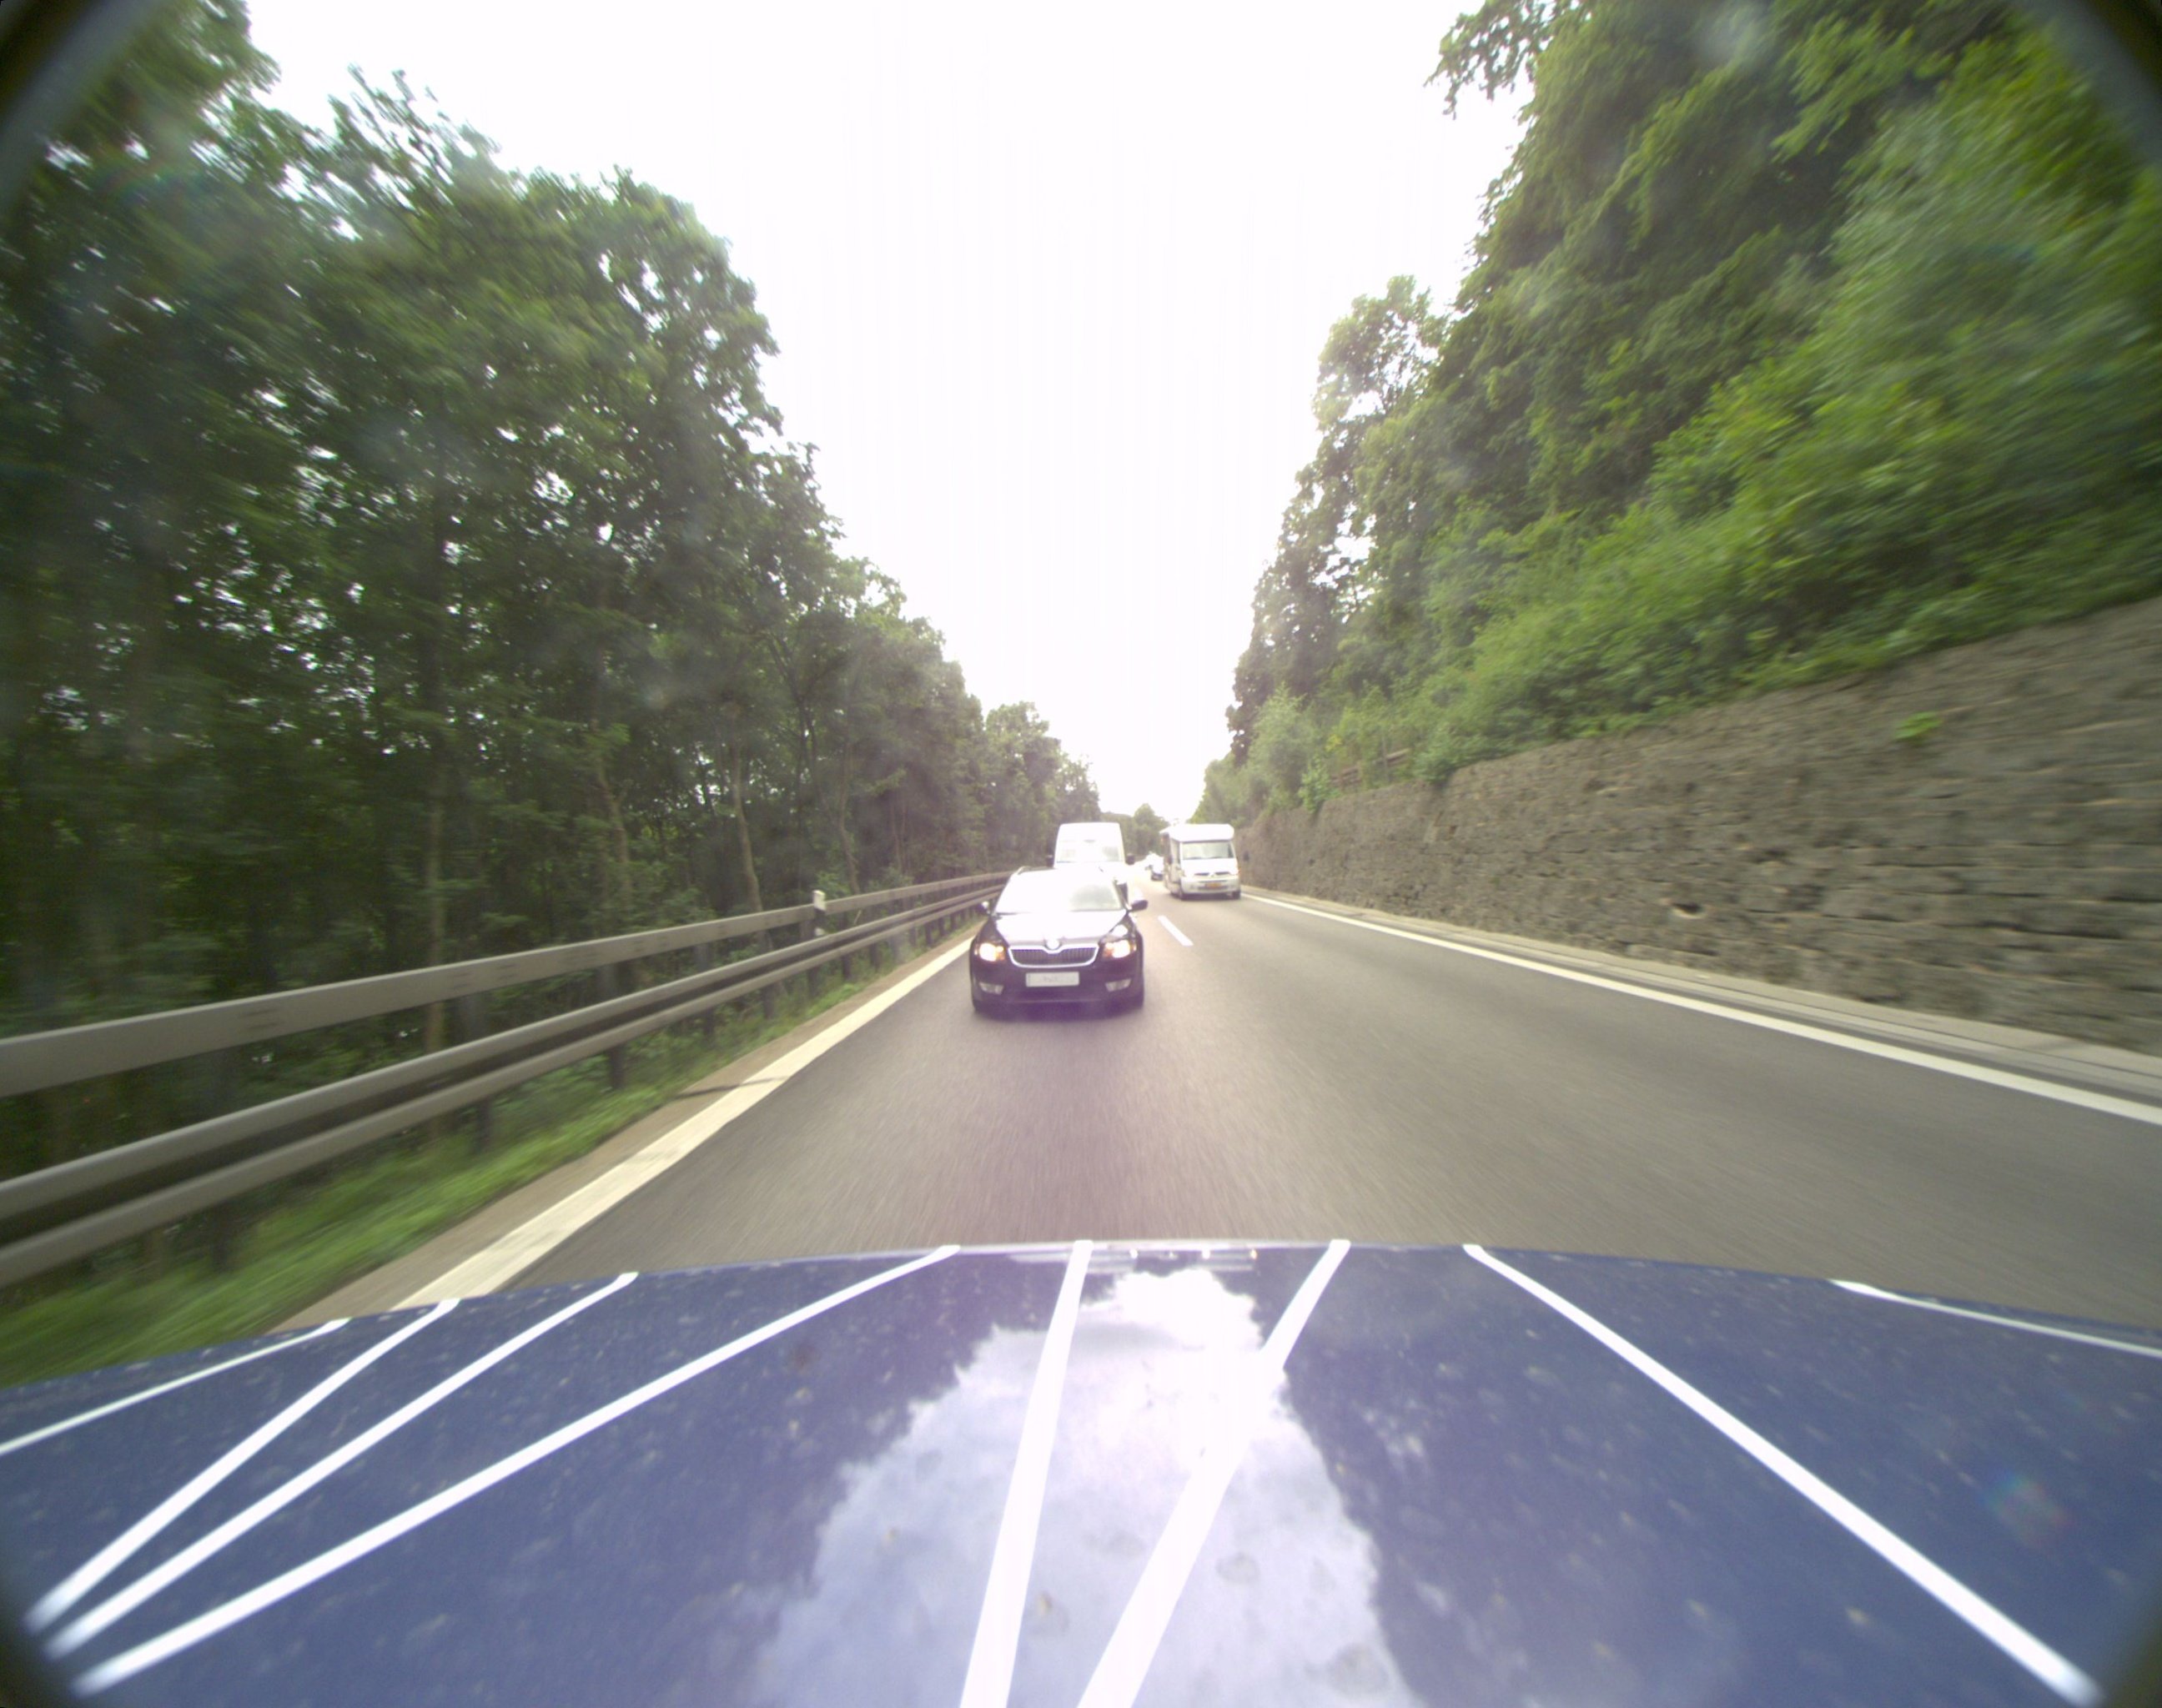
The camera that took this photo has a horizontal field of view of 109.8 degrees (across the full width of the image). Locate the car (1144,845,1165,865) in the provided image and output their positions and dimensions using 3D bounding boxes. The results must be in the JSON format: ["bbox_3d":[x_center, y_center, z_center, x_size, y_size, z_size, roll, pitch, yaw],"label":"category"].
[{"bbox_3d":[8.004,0.102,82.980,1.998,2.002,4.001,-2,0,3],"label":"car"}]

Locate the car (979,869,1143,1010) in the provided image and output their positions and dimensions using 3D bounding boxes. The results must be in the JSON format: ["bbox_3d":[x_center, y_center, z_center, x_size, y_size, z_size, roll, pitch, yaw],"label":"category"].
[{"bbox_3d":[-0.166,0.984,10.534,1.751,1.409,4.401,-2,0,1],"label":"car"}]

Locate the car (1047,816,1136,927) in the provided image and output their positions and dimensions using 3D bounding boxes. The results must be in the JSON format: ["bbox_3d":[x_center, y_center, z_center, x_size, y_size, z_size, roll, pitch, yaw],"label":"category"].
[{"bbox_3d":[0.375,0.403,20.548,2.000,2.545,5.128,-2,1,3],"label":"car"}]

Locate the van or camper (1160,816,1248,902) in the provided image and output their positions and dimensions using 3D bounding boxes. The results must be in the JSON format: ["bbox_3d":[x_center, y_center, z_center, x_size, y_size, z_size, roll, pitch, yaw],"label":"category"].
[{"bbox_3d":[4.360,0.164,28.220,2.270,2.719,7.024,-2,0,2],"label":"van or camper"}]

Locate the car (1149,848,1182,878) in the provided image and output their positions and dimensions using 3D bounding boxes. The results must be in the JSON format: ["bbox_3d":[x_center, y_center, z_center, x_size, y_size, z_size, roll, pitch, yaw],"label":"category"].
[{"bbox_3d":[5.403,0.543,48.959,1.808,1.772,4.001,-2,0,3],"label":"car"}]
